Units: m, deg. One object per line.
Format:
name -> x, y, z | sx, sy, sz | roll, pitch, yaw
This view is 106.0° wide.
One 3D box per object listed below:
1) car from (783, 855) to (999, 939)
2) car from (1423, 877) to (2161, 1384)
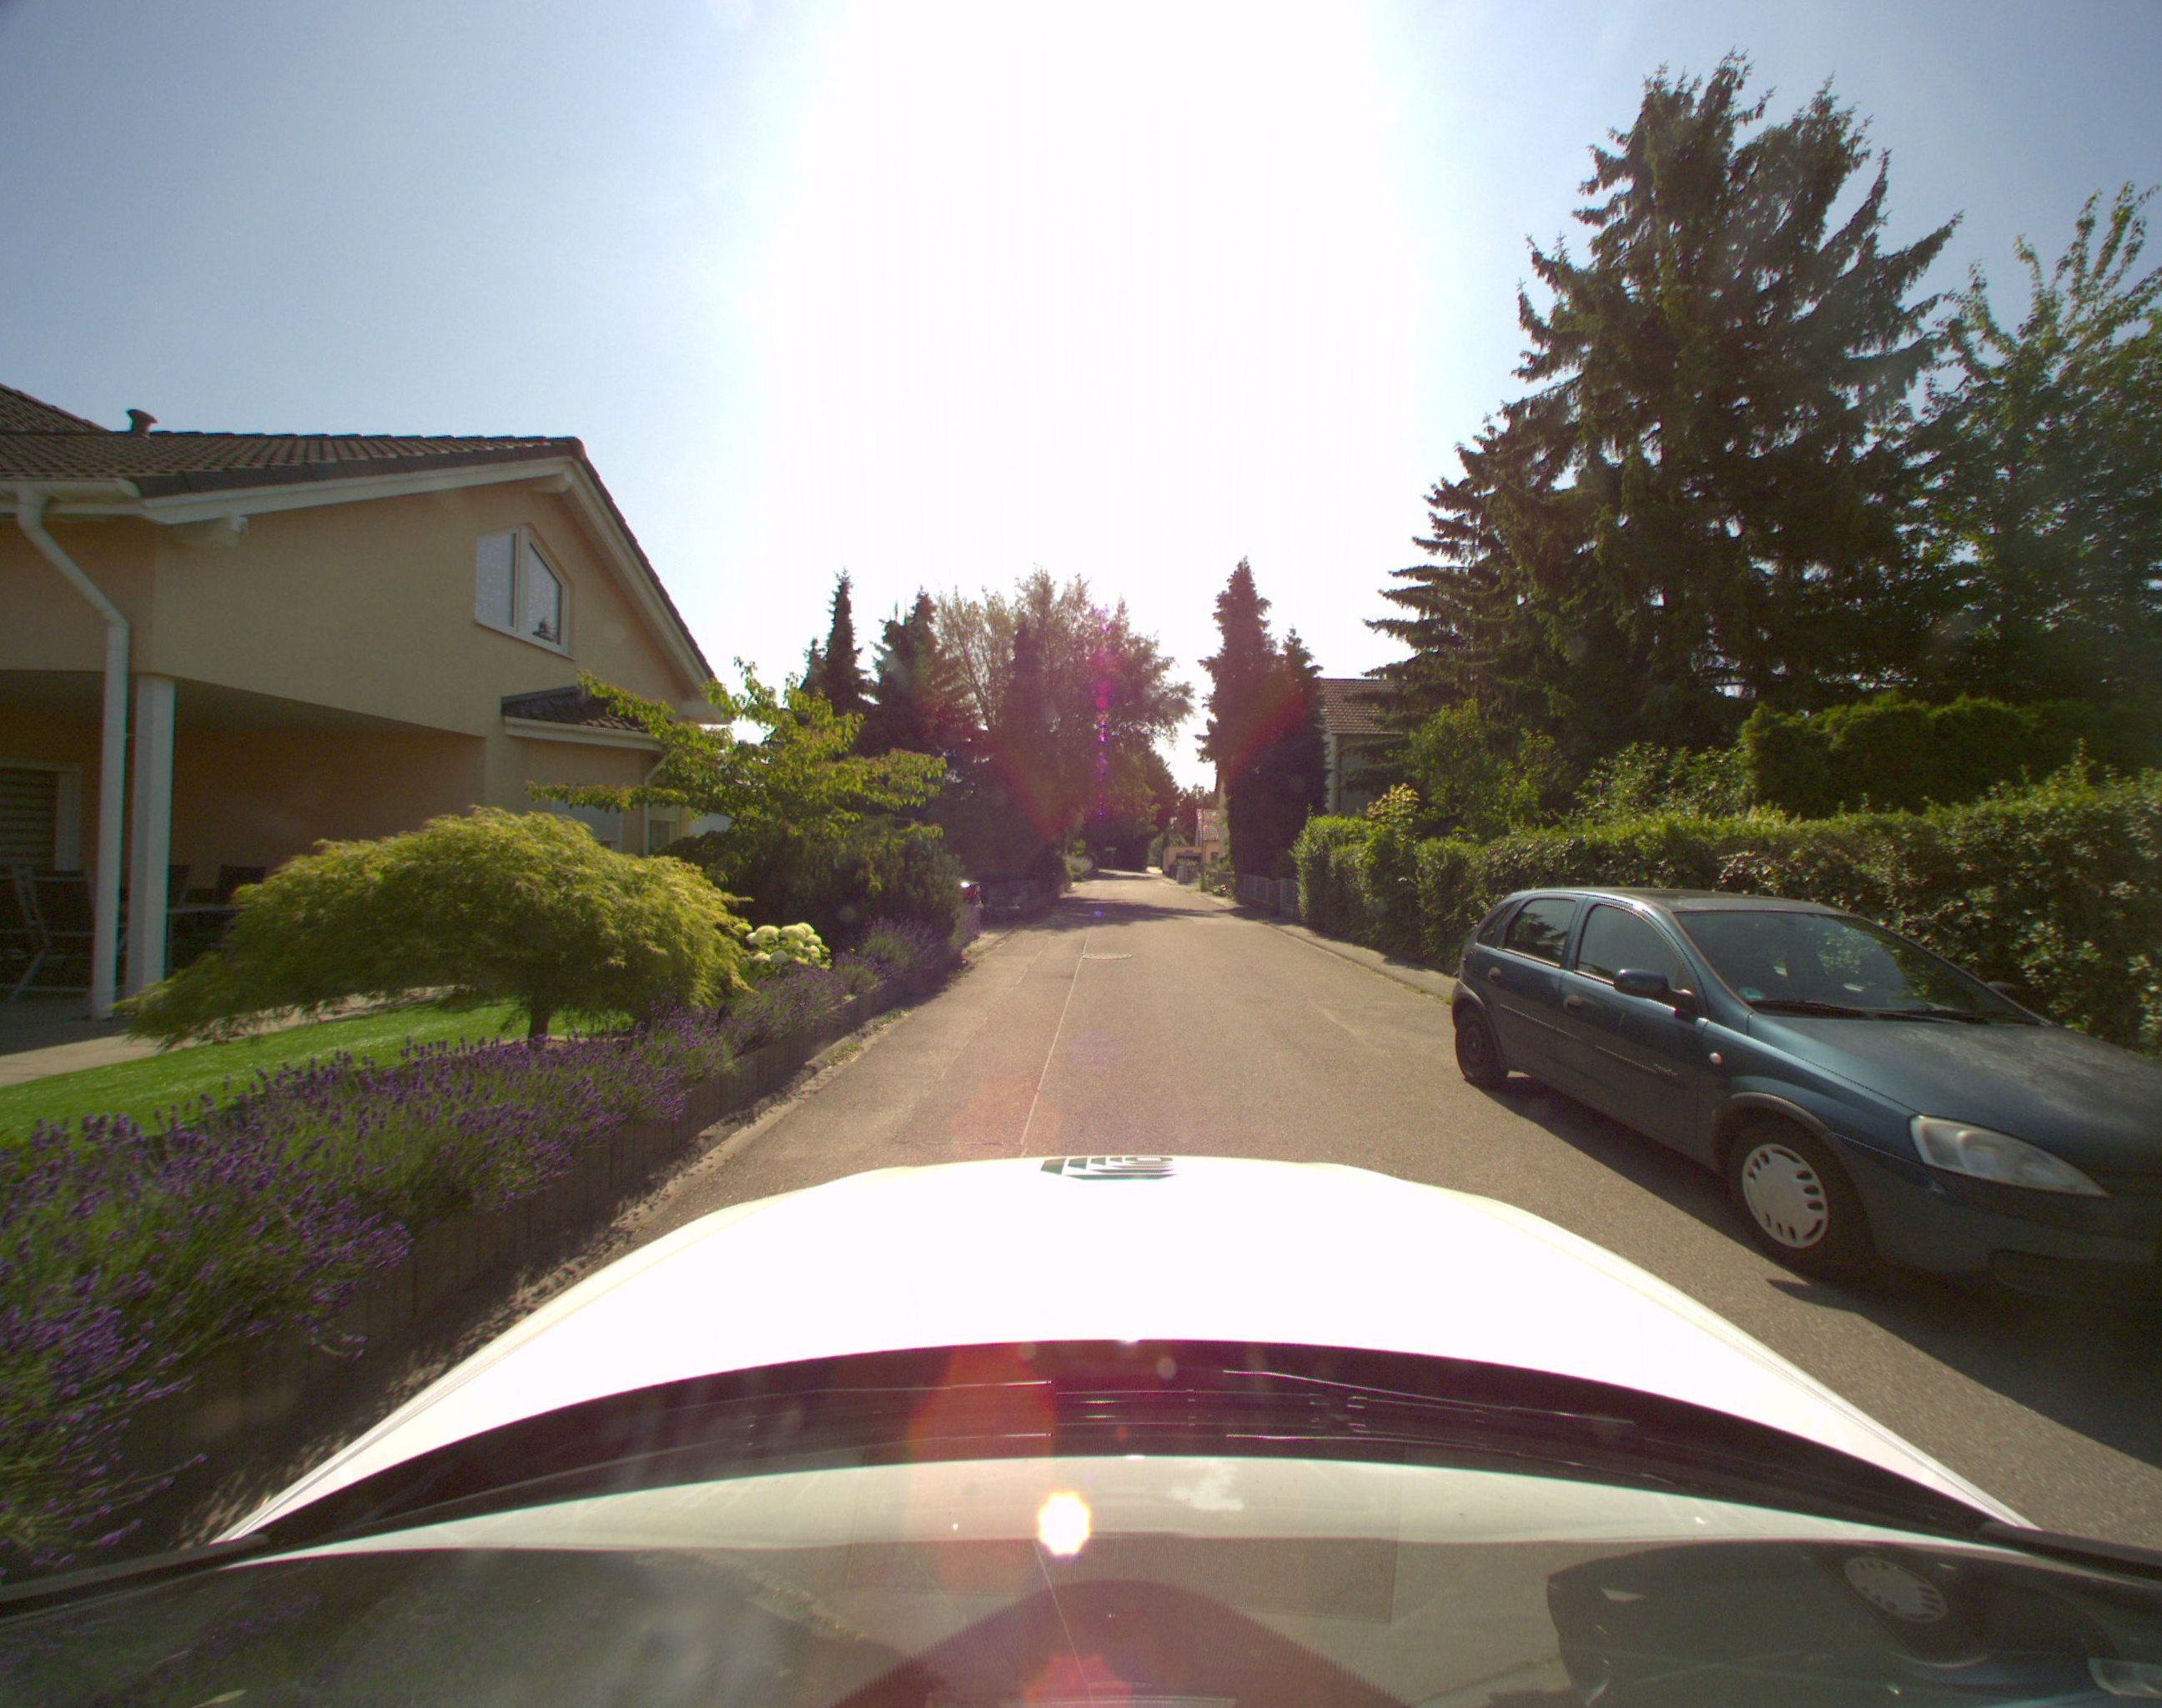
car -> -3.554, 0.787, 15.741 | 3.723, 1.446, 1.756 | 1, 0, 0
car -> 3.510, 0.886, 4.398 | 1.696, 1.399, 4.001 | 2, -1, 1
